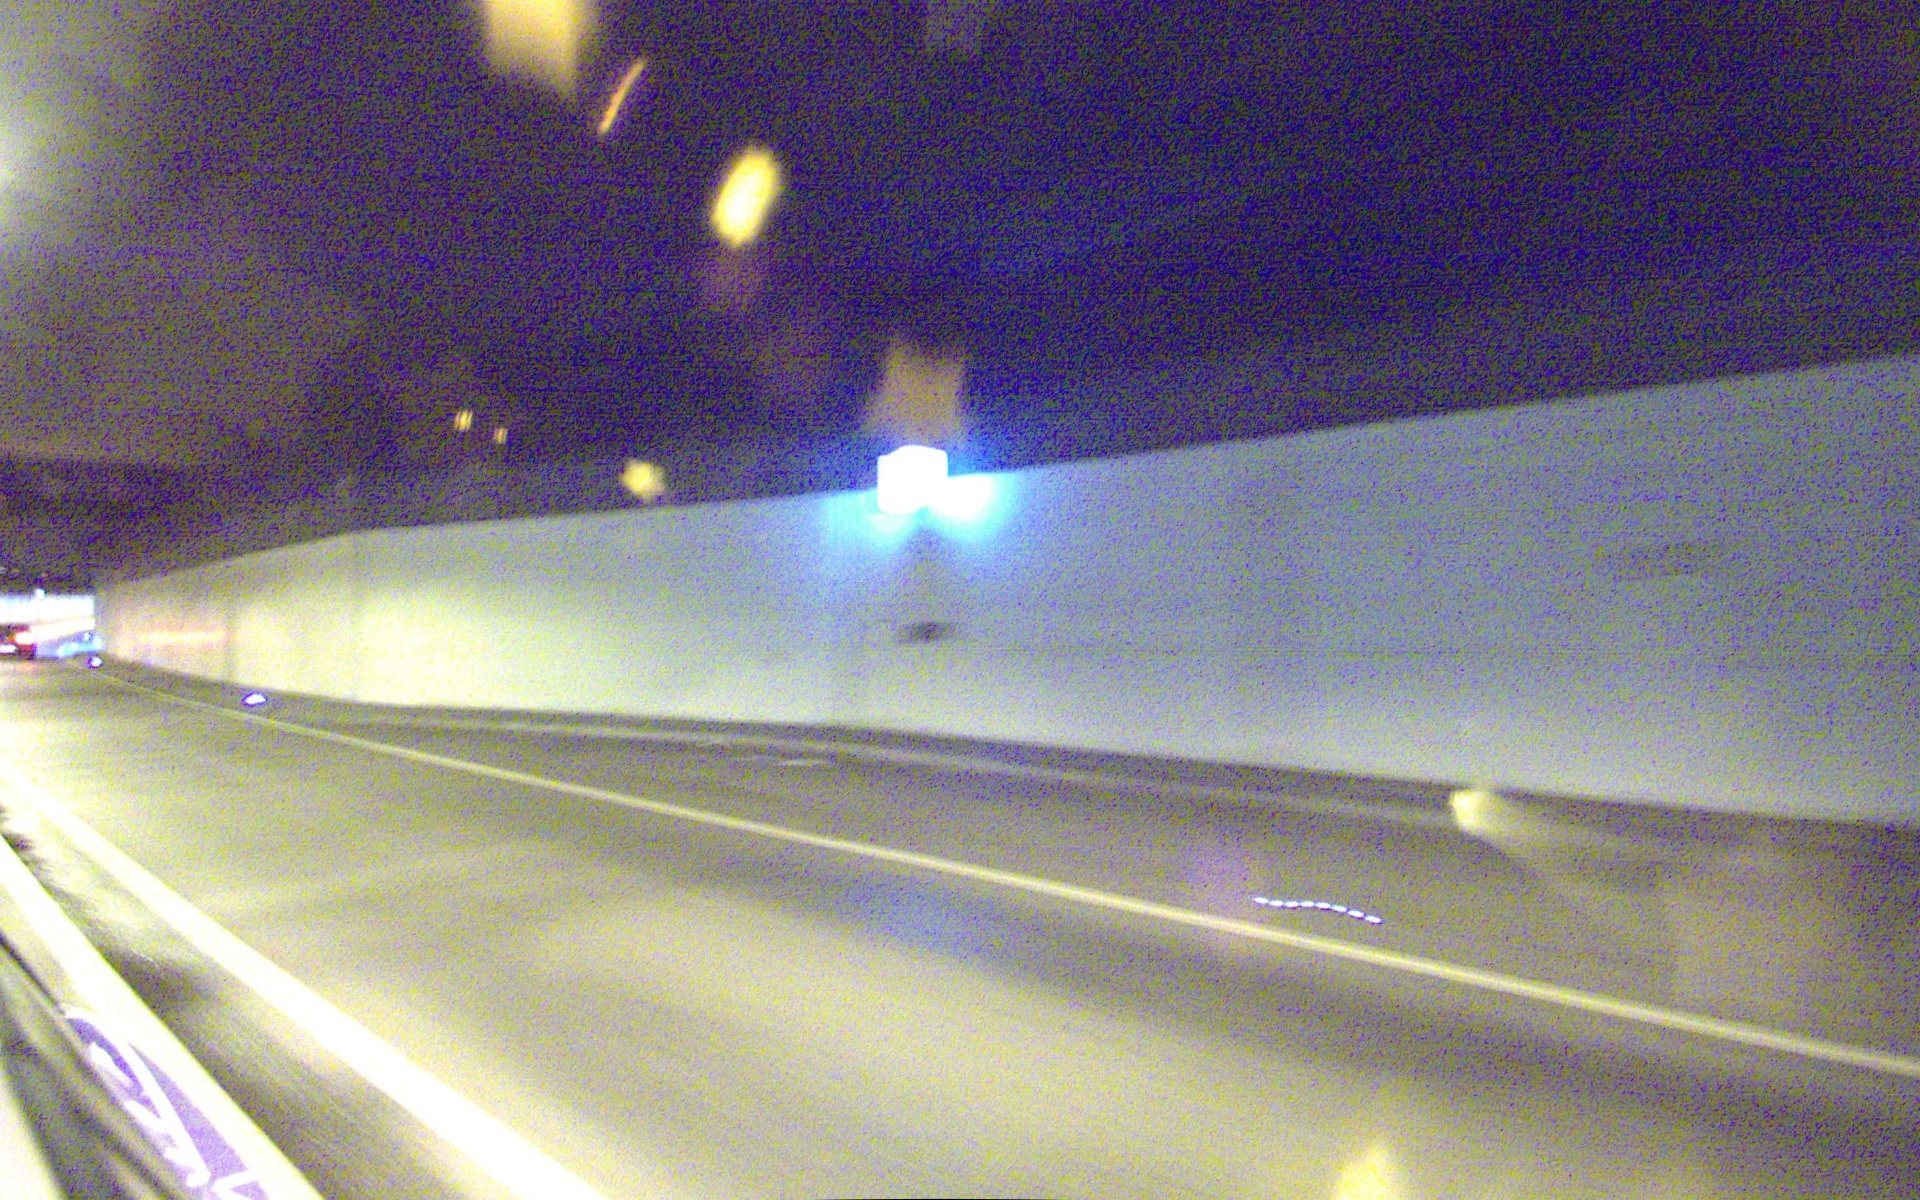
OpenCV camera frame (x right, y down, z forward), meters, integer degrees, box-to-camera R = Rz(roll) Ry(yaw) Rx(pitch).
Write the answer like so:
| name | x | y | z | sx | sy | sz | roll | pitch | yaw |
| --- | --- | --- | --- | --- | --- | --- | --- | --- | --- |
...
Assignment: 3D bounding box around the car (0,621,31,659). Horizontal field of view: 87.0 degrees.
| name | x | y | z | sx | sy | sz | roll | pitch | yaw |
| --- | --- | --- | --- | --- | --- | --- | --- | --- | --- |
| car | -37.621 | 1.555 | 39.702 | 1.687 | 1.427 | 4.121 | 1 | -2 | -43 |
